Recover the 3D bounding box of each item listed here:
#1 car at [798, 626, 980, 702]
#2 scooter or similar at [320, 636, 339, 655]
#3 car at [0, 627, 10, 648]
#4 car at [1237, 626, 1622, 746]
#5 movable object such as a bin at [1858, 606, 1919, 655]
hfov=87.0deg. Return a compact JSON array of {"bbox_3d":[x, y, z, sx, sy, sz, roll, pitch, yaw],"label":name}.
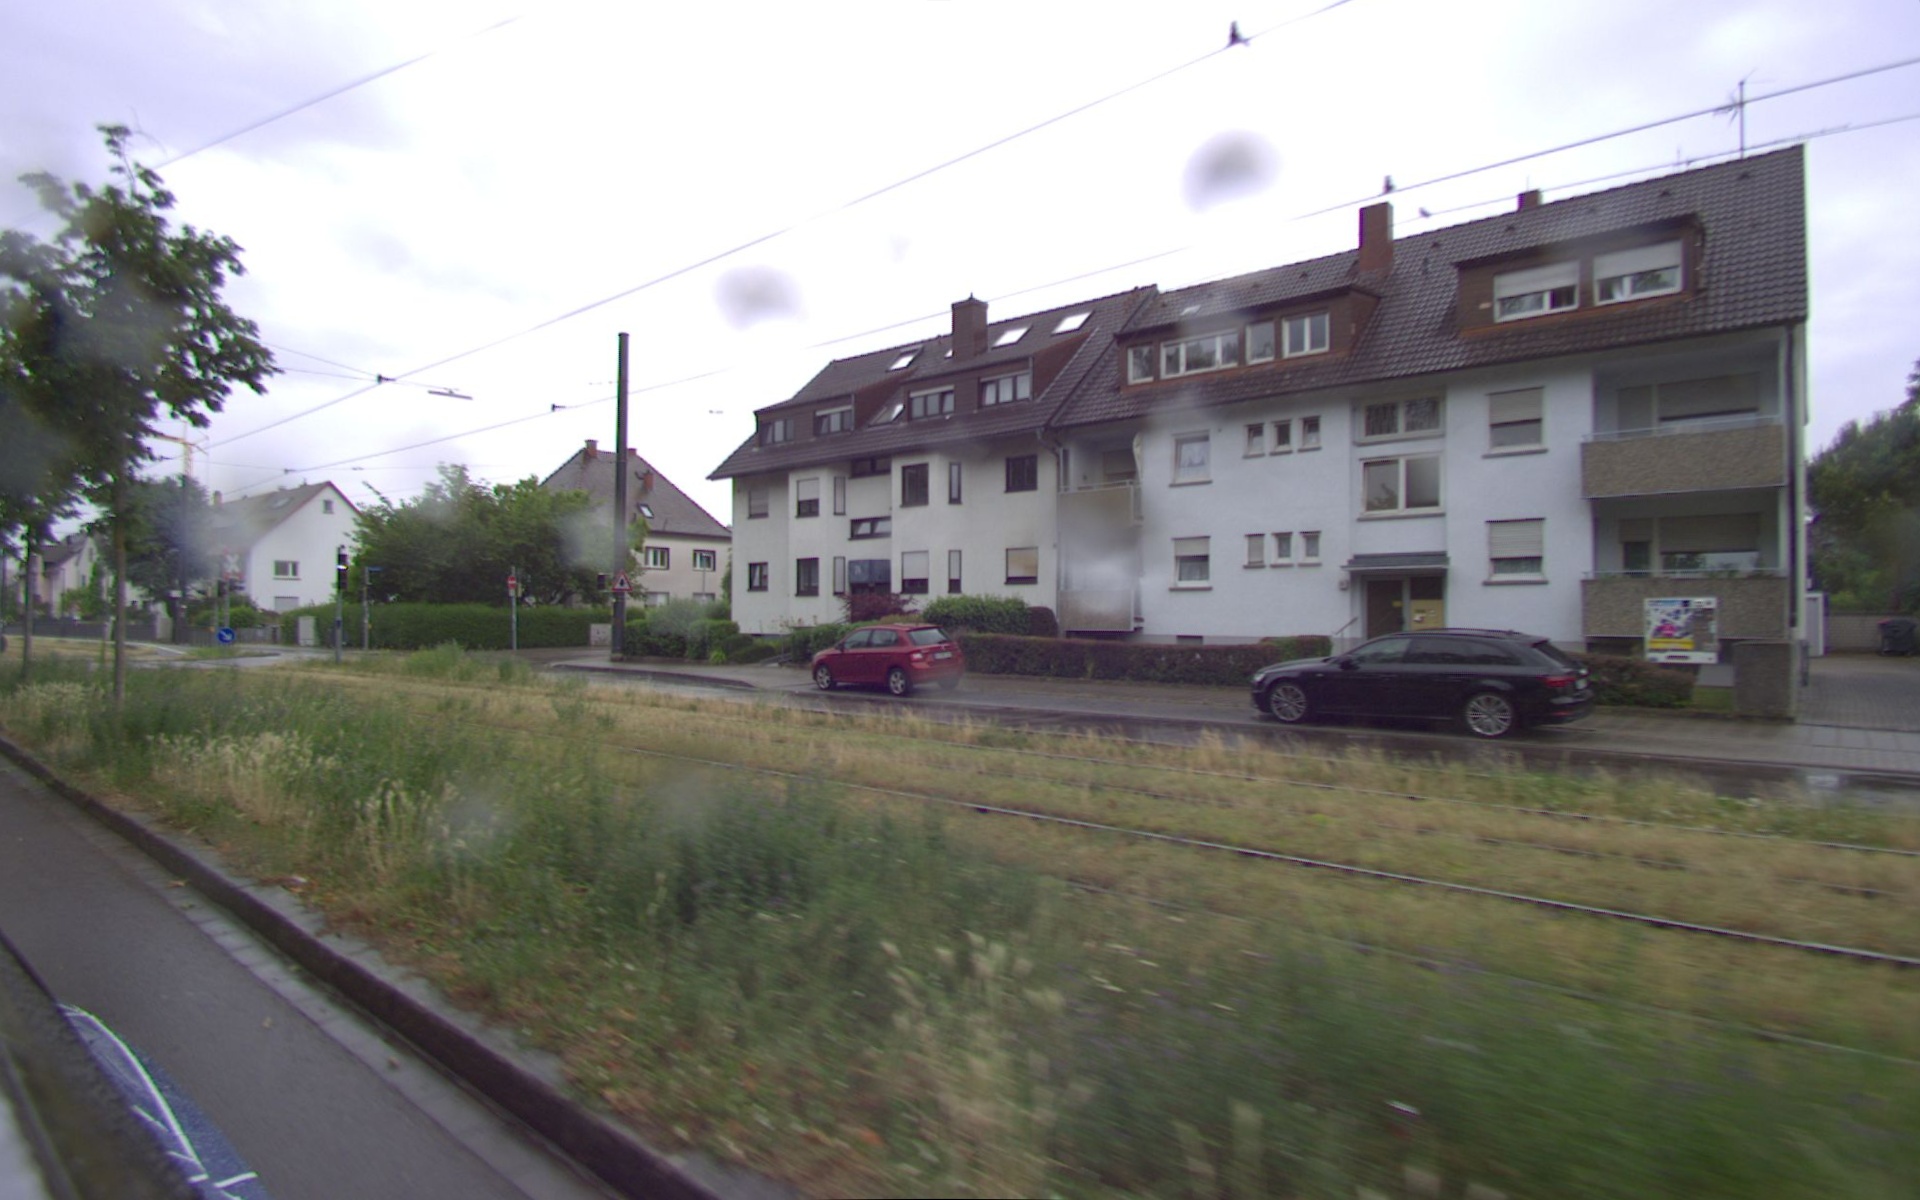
[{"bbox_3d":[-1.634,1.346,22.432,4.001,1.468,1.778,-2,0,44],"label":"car"},{"bbox_3d":[-31.079,2.249,49.898,1.256,0.917,0.343,-1,-2,36],"label":"scooter or similar"},{"bbox_3d":[-93.874,3.628,97.997,3.991,2.029,1.976,-1,-2,36],"label":"car"},{"bbox_3d":[6.755,1.137,14.939,4.762,1.421,1.971,-2,0,44],"label":"car"},{"bbox_3d":[36.750,1.168,39.880,1.917,1.789,2.122,0,1,38],"label":"movable object such as a bin"}]
